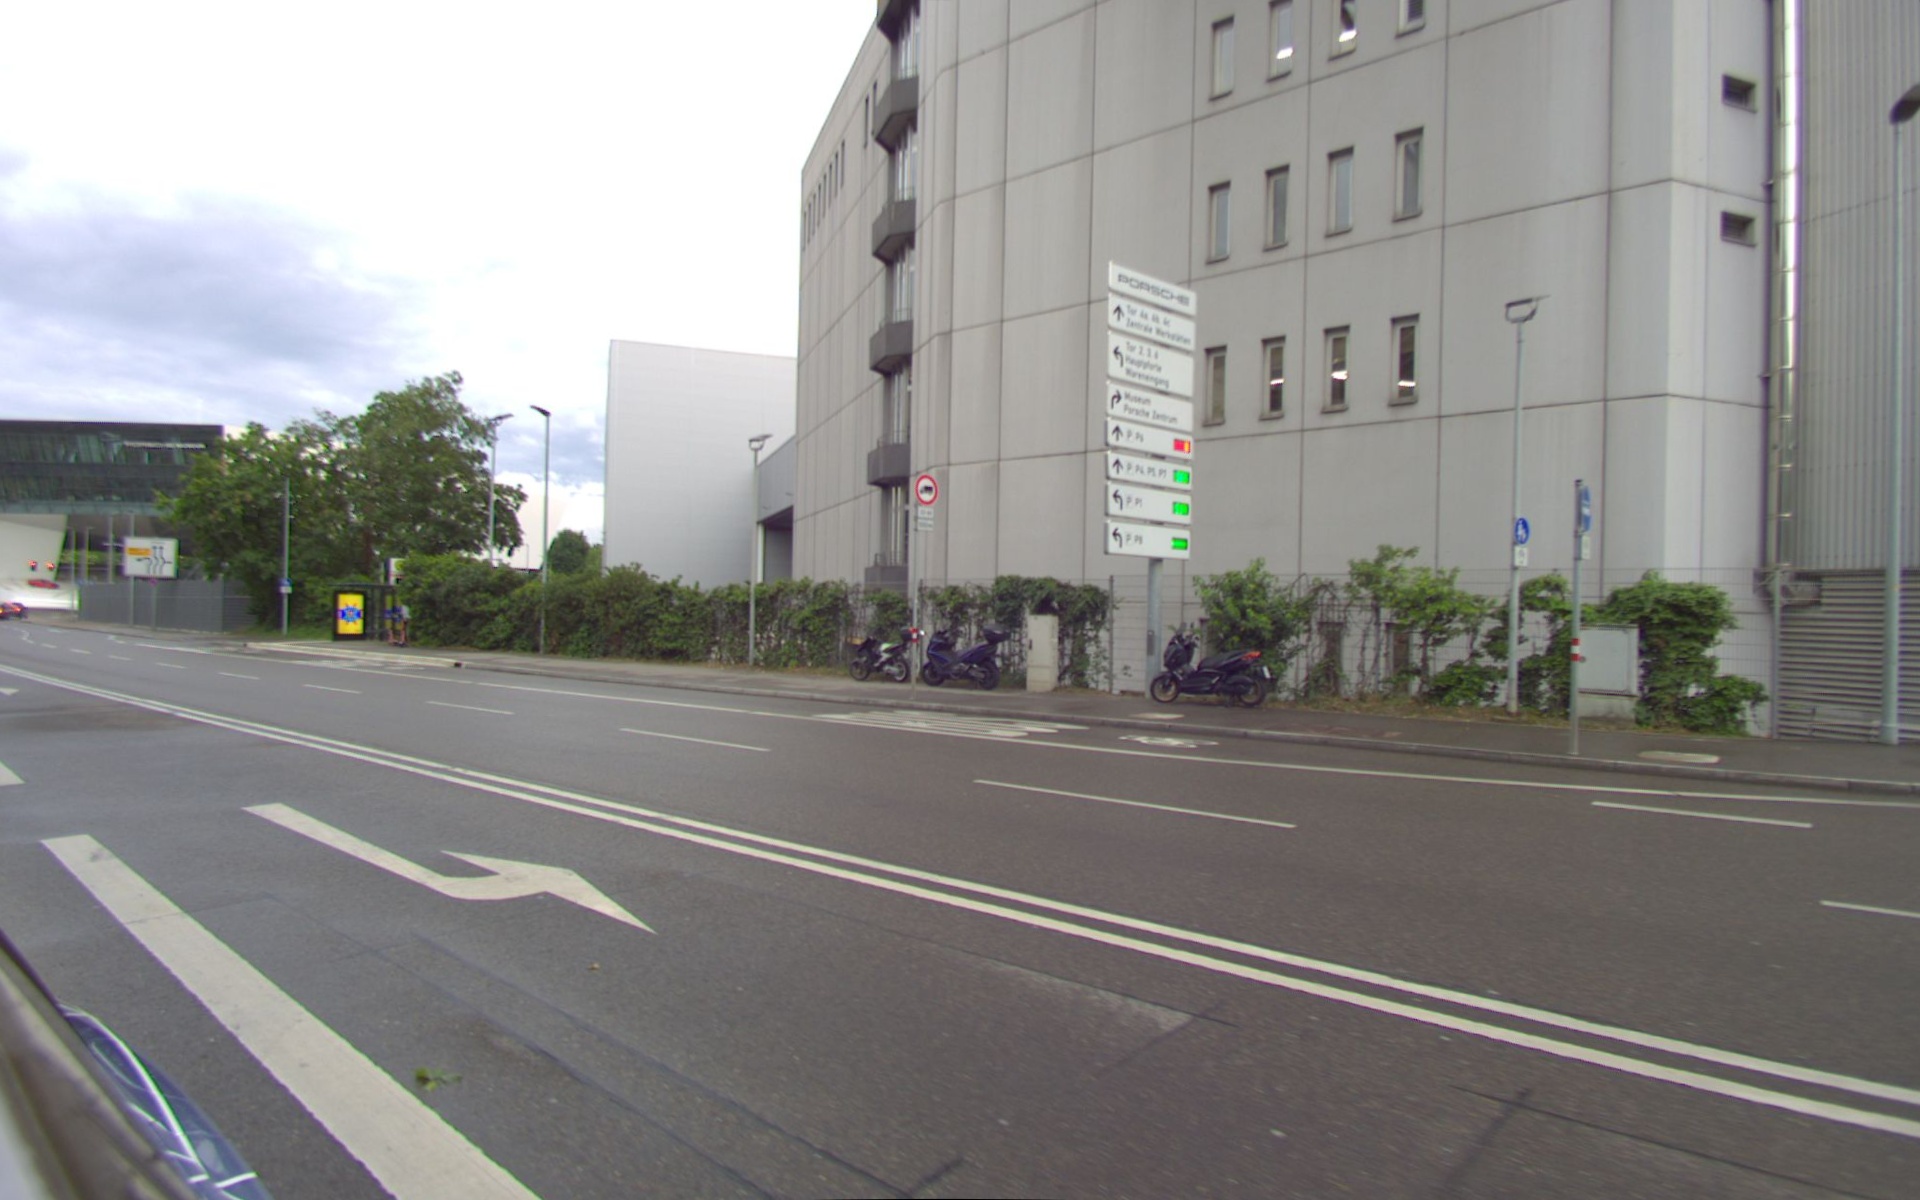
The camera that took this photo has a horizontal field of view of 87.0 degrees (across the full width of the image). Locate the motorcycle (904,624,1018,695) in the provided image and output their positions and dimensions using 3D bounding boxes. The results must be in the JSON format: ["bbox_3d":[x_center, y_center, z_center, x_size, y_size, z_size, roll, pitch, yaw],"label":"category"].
[{"bbox_3d":[-0.003,1.184,20.659,2.368,1.358,0.777,0,-2,40],"label":"motorcycle"}]

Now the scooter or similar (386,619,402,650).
[{"bbox_3d":[-22.336,1.357,39.935,0.383,1.189,1.253,1,-1,-36],"label":"scooter or similar"}]

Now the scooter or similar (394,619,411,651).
[{"bbox_3d":[-21.392,1.340,38.796,0.373,1.190,1.381,1,-1,-36],"label":"scooter or similar"}]

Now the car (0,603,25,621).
[{"bbox_3d":[-91.136,1.148,96.692,1.834,1.663,3.799,1,-1,-31],"label":"car"}]

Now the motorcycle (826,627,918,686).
[{"bbox_3d":[-2.006,1.246,22.860,2.156,1.260,0.777,0,-2,40],"label":"motorcycle"}]

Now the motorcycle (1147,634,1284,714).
[{"bbox_3d":[4.338,1.226,17.307,2.156,1.256,0.777,0,-2,40],"label":"motorcycle"}]

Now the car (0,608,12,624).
[{"bbox_3d":[-87.121,1.413,90.842,2.233,1.488,4.059,1,-1,-32],"label":"car"}]
